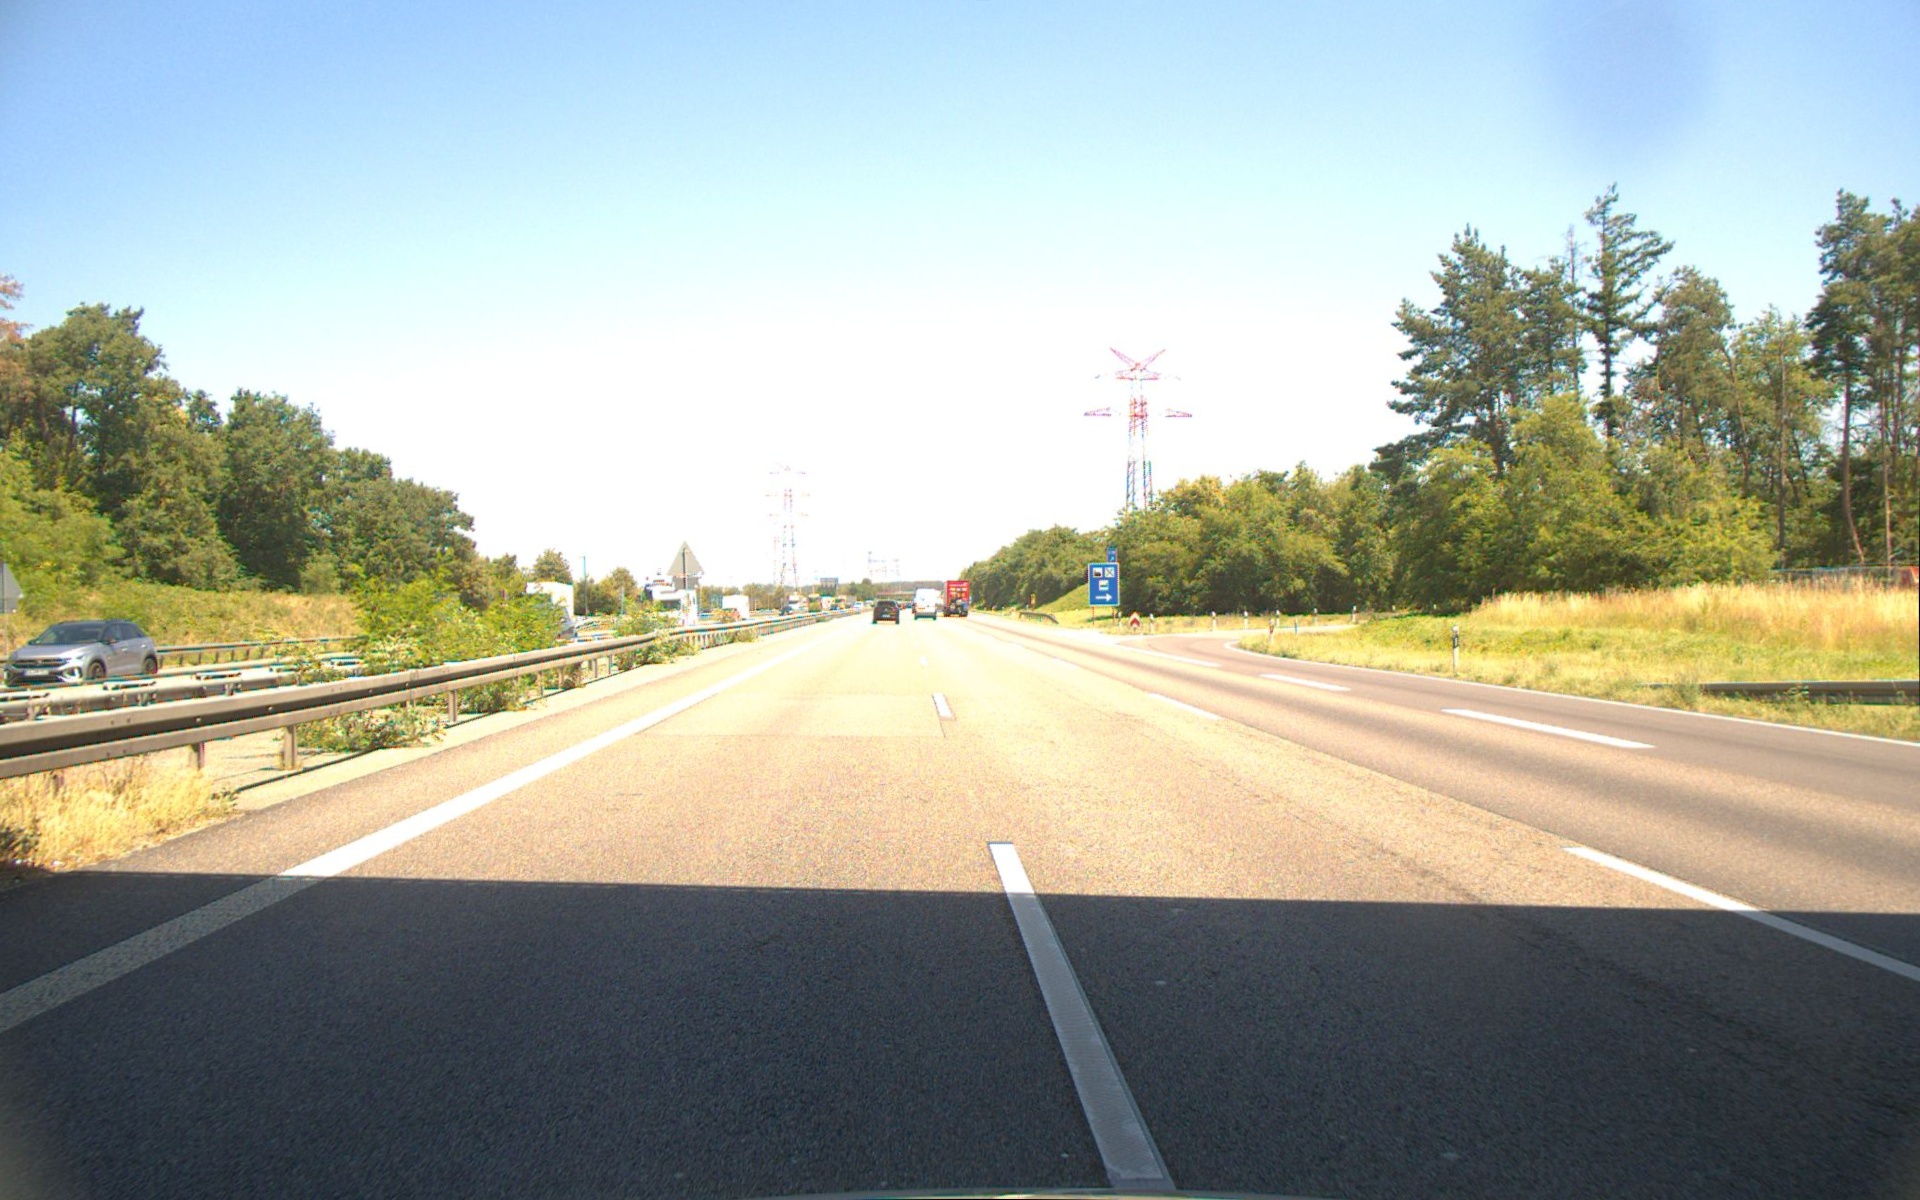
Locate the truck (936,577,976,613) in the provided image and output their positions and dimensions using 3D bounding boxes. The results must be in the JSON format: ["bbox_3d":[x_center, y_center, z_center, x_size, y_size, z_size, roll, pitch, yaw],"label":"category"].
[{"bbox_3d":[-0.576,-0.581,193.293,4.244,4.010,16.072,1,0,-1],"label":"truck"}]

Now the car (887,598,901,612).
[{"bbox_3d":[-8.441,0.640,210.729,1.712,1.662,4.002,1,0,-2],"label":"car"}]

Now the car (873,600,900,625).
[{"bbox_3d":[-5.351,0.910,120.568,1.953,1.780,3.998,1,0,-2],"label":"car"}]

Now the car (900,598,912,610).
[{"bbox_3d":[-7.636,0.596,232.807,1.712,1.662,4.002,1,0,-2],"label":"car"}]

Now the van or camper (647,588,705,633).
[{"bbox_3d":[-18.857,0.695,110.302,2.451,2.860,8.559,-1,0,-1],"label":"van or camper"}]

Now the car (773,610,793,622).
[{"bbox_3d":[-23.027,2.067,214.832,2.183,1.404,4.888,-3,0,-2],"label":"car"}]

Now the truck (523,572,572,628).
[{"bbox_3d":[-38.530,-0.006,154.693,3.011,4.911,7.708,-3,1,-5],"label":"truck"}]

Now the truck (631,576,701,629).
[{"bbox_3d":[-24.435,0.243,138.525,3.259,4.066,16.860,-1,0,-2],"label":"truck"}]

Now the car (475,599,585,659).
[{"bbox_3d":[-13.118,0.849,50.803,2.183,1.639,5.057,-3,0,-2],"label":"car"}]

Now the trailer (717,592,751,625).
[{"bbox_3d":[-20.179,0.769,148.129,2.427,2.795,5.072,-3,0,-2],"label":"trailer"}]

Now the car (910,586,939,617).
[{"bbox_3d":[-3.338,0.110,152.314,2.568,2.807,6.094,1,0,-2],"label":"car"}]

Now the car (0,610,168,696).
[{"bbox_3d":[-19.661,1.123,36.342,2.183,1.639,5.057,-3,0,-2],"label":"car"}]

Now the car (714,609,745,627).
[{"bbox_3d":[-19.938,1.511,143.214,2.183,1.404,4.689,-3,0,-2],"label":"car"}]
